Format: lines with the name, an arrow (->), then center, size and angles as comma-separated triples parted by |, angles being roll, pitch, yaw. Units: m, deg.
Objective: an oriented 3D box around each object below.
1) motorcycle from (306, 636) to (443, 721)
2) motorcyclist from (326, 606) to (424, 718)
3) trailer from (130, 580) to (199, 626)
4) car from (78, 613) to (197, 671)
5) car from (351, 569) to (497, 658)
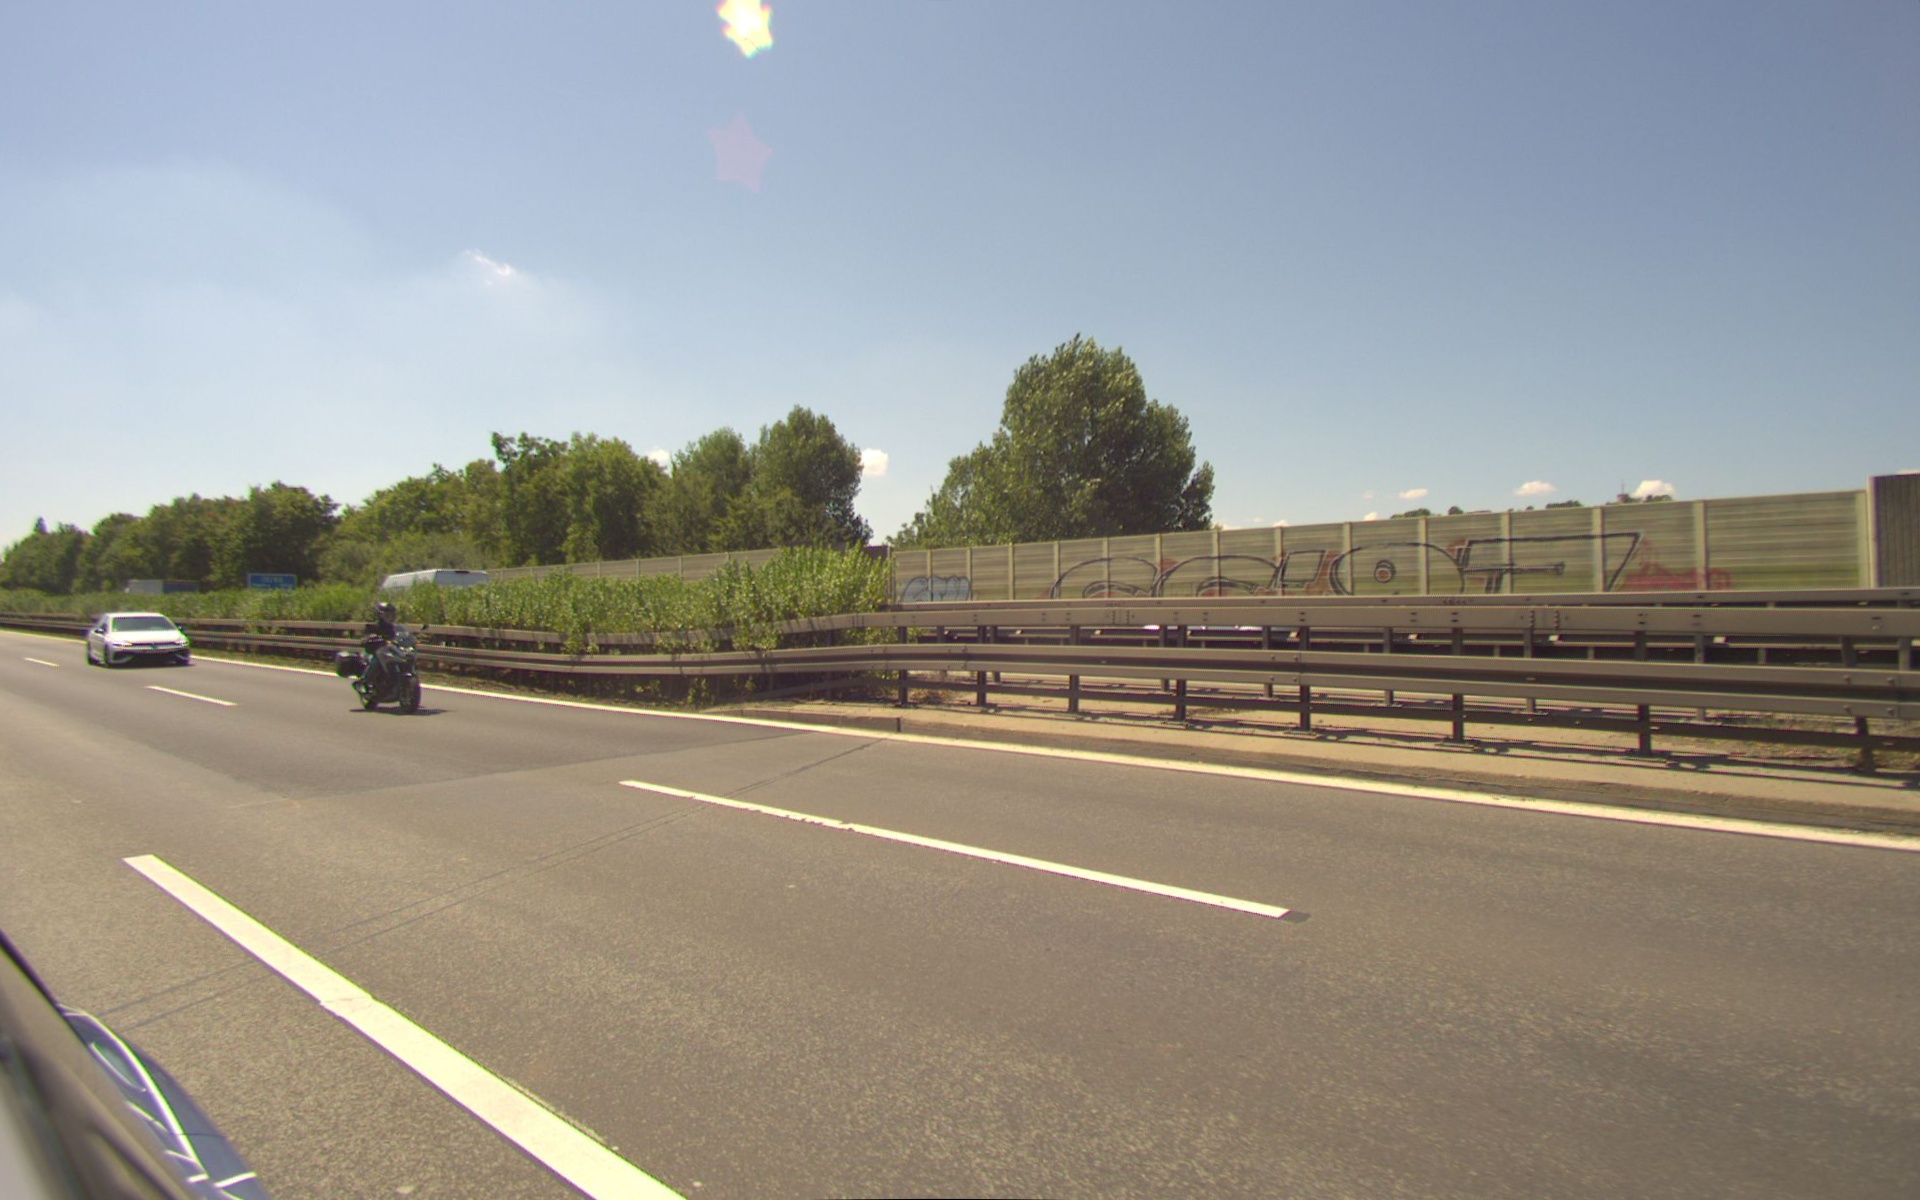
motorcycle -> -8.964, 1.149, 15.426 | 2.847, 1.097, 0.903 | 0, 0, 40
motorcyclist -> -8.887, 0.904, 15.363 | 1.298, 1.609, 0.884 | -1, 0, 40
trailer -> -71.985, 0.360, 91.431 | 13.671, 3.882, 2.677 | -1, -1, 42
car -> -22.703, 1.099, 27.877 | 4.666, 1.451, 1.763 | -1, -1, 41
car -> -18.392, 0.463, 34.571 | 6.215, 2.779, 2.218 | -1, -1, 40
